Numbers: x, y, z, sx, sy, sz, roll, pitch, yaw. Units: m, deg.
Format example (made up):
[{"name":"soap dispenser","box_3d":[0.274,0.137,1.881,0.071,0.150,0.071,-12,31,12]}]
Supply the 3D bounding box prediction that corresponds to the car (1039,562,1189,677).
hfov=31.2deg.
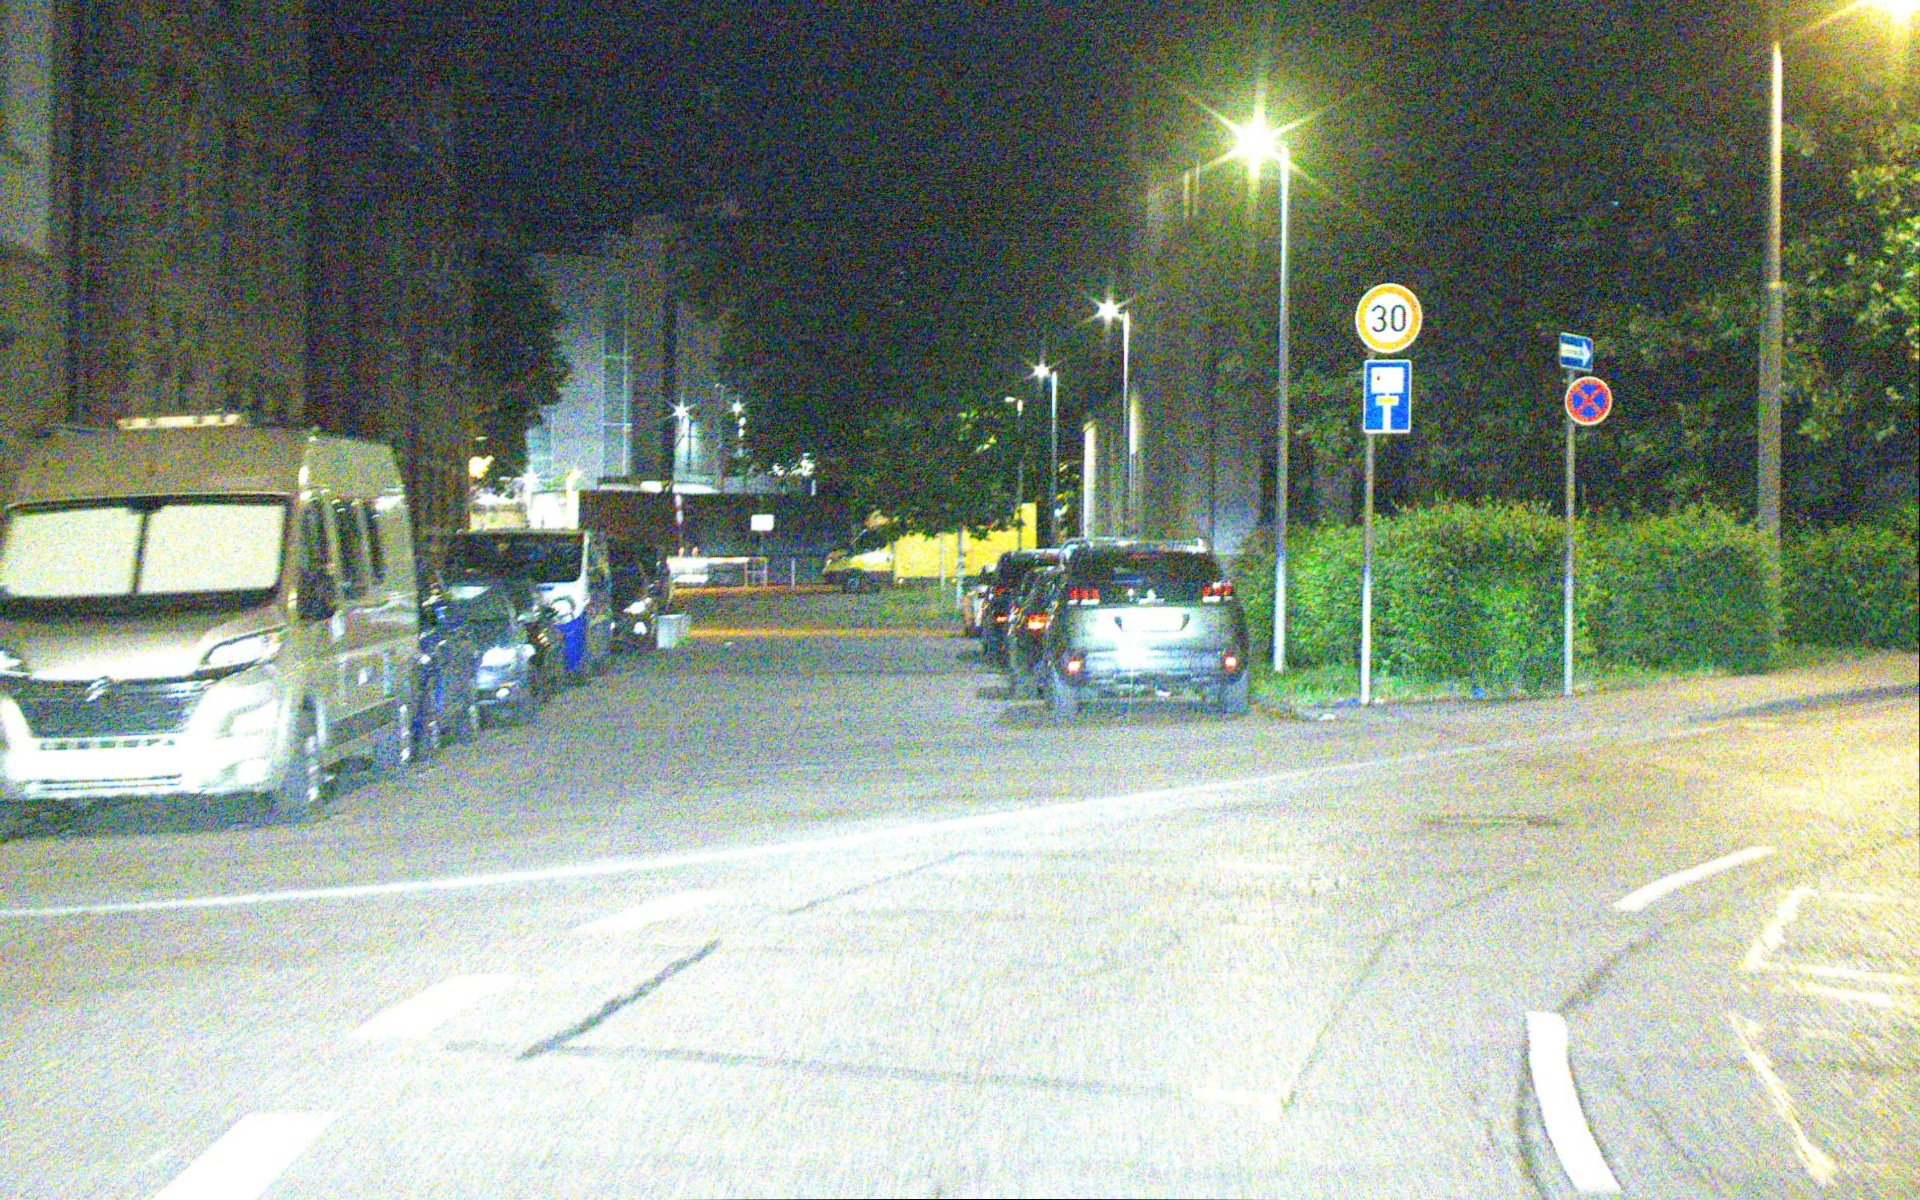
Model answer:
[{"name":"car","box_3d":[1.915,0.226,43.693,1.698,1.387,3.627,-1,0,-1]}]

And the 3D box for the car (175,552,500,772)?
[{"name":"car","box_3d":[-4.952,0.436,27.923,1.892,1.585,4.374,-2,1,-1]}]

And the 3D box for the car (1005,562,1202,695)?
[{"name":"car","box_3d":[1.539,0.285,38.160,1.963,1.378,4.000,-1,0,-1]}]

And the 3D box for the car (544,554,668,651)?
[{"name":"car","box_3d":[-5.704,0.026,55.697,1.704,1.505,4.100,1,0,-2]}]

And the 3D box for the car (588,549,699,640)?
[{"name":"car","box_3d":[-5.643,-0.105,61.663,1.677,1.561,4.105,-1,0,-1]}]

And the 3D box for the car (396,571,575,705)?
[{"name":"car","box_3d":[-5.248,0.380,38.444,1.691,1.393,4.079,-1,1,-4]}]

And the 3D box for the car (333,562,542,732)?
[{"name":"car","box_3d":[-5.031,0.397,33.404,1.838,1.502,4.743,-1,1,-8]}]

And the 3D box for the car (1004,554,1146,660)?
[{"name":"car","box_3d":[1.649,0.072,50.516,1.880,1.410,4.473,-2,1,0]}]

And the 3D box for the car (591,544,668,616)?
[{"name":"car","box_3d":[-8.260,-0.499,86.164,1.637,1.754,3.963,-1,0,-2]}]

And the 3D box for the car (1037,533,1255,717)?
[{"name":"car","box_3d":[1.722,0.207,33.038,1.884,1.597,4.107,-2,1,1]}]

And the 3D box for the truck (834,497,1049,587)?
[{"name":"truck","box_3d":[-0.615,-1.859,110.464,6.775,2.834,2.000,0,1,-4]}]

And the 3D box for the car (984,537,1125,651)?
[{"name":"car","box_3d":[1.481,-0.116,55.837,2.040,1.688,4.882,-3,1,-1]}]

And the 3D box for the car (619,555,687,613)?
[{"name":"car","box_3d":[-8.220,-0.437,92.243,1.607,1.511,3.808,-1,0,-2]}]

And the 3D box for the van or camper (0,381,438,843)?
[{"name":"van or camper","box_3d":[-4.949,0.042,22.494,2.158,2.527,6.227,-3,1,-1]}]

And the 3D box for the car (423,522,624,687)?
[{"name":"car","box_3d":[-5.466,0.021,43.591,1.993,1.948,4.806,-1,1,-1]}]

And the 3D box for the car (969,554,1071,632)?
[{"name":"car","box_3d":[1.141,-0.155,67.079,1.758,1.440,4.026,-1,1,-2]}]
